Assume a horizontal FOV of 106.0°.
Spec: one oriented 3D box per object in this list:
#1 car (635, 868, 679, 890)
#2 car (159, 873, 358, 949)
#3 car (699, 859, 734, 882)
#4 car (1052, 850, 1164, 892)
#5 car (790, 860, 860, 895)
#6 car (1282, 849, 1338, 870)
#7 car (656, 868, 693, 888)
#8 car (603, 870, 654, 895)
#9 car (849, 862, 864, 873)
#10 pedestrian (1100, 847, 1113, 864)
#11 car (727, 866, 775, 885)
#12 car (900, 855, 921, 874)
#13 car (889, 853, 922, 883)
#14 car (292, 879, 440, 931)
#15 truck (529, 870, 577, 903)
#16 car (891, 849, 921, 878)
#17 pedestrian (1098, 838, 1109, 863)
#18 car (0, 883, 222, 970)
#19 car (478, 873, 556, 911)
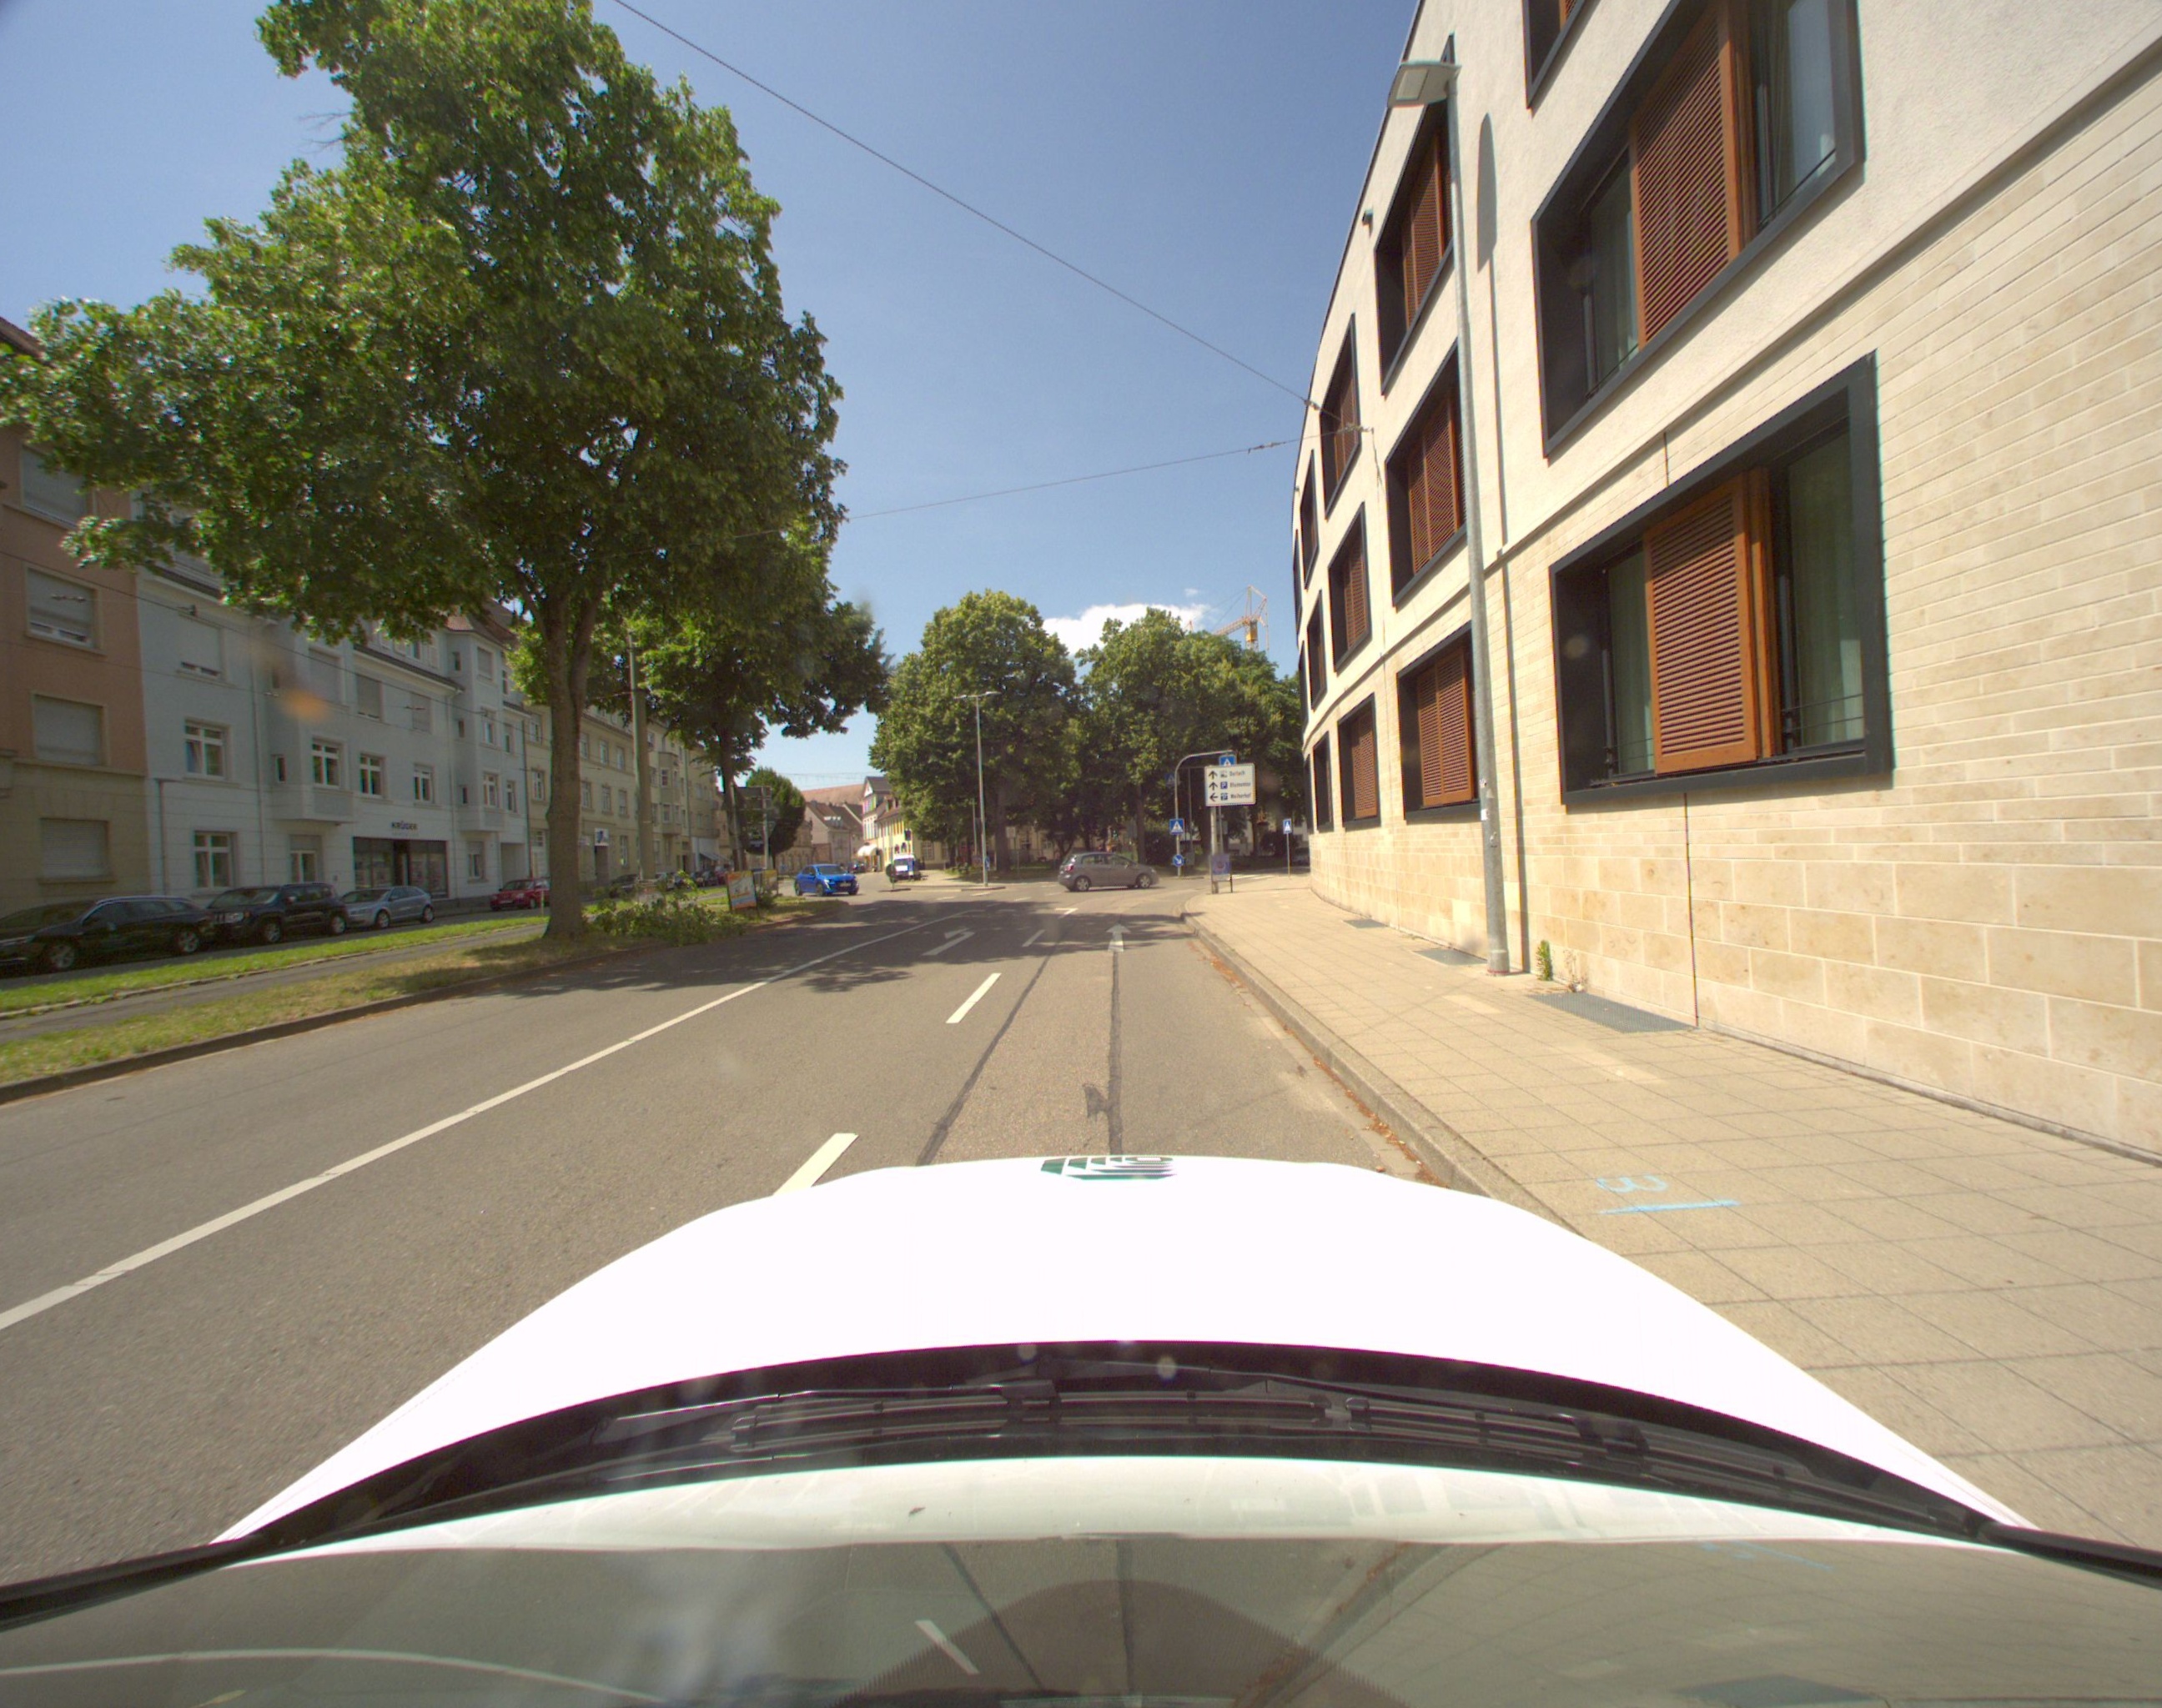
[{"bbox_3d":[-30.112,1.746,57.895,1.688,1.390,3.841,-5,1,-12],"label":"car"},{"bbox_3d":[-22.714,1.483,22.755,1.838,1.685,4.125,-5,1,-12],"label":"car"},{"bbox_3d":[-34.076,1.523,76.296,1.855,1.911,4.751,-5,1,-12],"label":"car"},{"bbox_3d":[1.086,0.659,33.398,4.236,1.534,1.900,-2,0,-14],"label":"car"},{"bbox_3d":[-11.814,1.031,37.468,1.824,1.492,3.954,-1,0,-38],"label":"car"},{"bbox_3d":[18.240,0.452,64.699,4.424,1.488,1.725,-2,0,-32],"label":"car"},{"bbox_3d":[-31.216,1.810,62.583,1.688,1.277,3.275,-5,1,-12],"label":"car"},{"bbox_3d":[-29.061,1.780,52.411,1.688,1.360,3.841,-5,1,-12],"label":"car"},{"bbox_3d":[-32.076,1.913,116.373,1.866,1.486,3.975,-2,0,-19],"label":"car"},{"bbox_3d":[1.951,0.108,62.675,0.902,1.252,1.149,-2,1,3],"label":"pedestrian"},{"bbox_3d":[-33.353,2.162,82.375,4.212,1.504,1.993,-5,1,-17],"label":"car"},{"bbox_3d":[-15.946,0.959,76.352,1.784,1.693,4.185,-2,0,-11],"label":"car"},{"bbox_3d":[-11.554,0.884,53.689,1.995,1.826,4.403,-2,0,-12],"label":"car"},{"bbox_3d":[-23.769,1.628,27.318,1.809,1.356,4.232,-5,1,-12],"label":"car"},{"bbox_3d":[-27.069,1.636,41.824,1.127,1.494,2.582,-5,1,-13],"label":"truck"},{"bbox_3d":[-13.322,0.706,62.349,2.050,2.002,5.229,-2,0,-11],"label":"car"},{"bbox_3d":[1.766,-0.245,63.596,0.744,1.910,0.685,-2,1,3],"label":"pedestrian"},{"bbox_3d":[-21.629,1.511,17.437,1.929,1.490,4.843,-5,1,-12],"label":"car"},{"bbox_3d":[-25.945,1.696,37.579,1.573,1.451,3.610,-5,1,-12],"label":"car"}]
